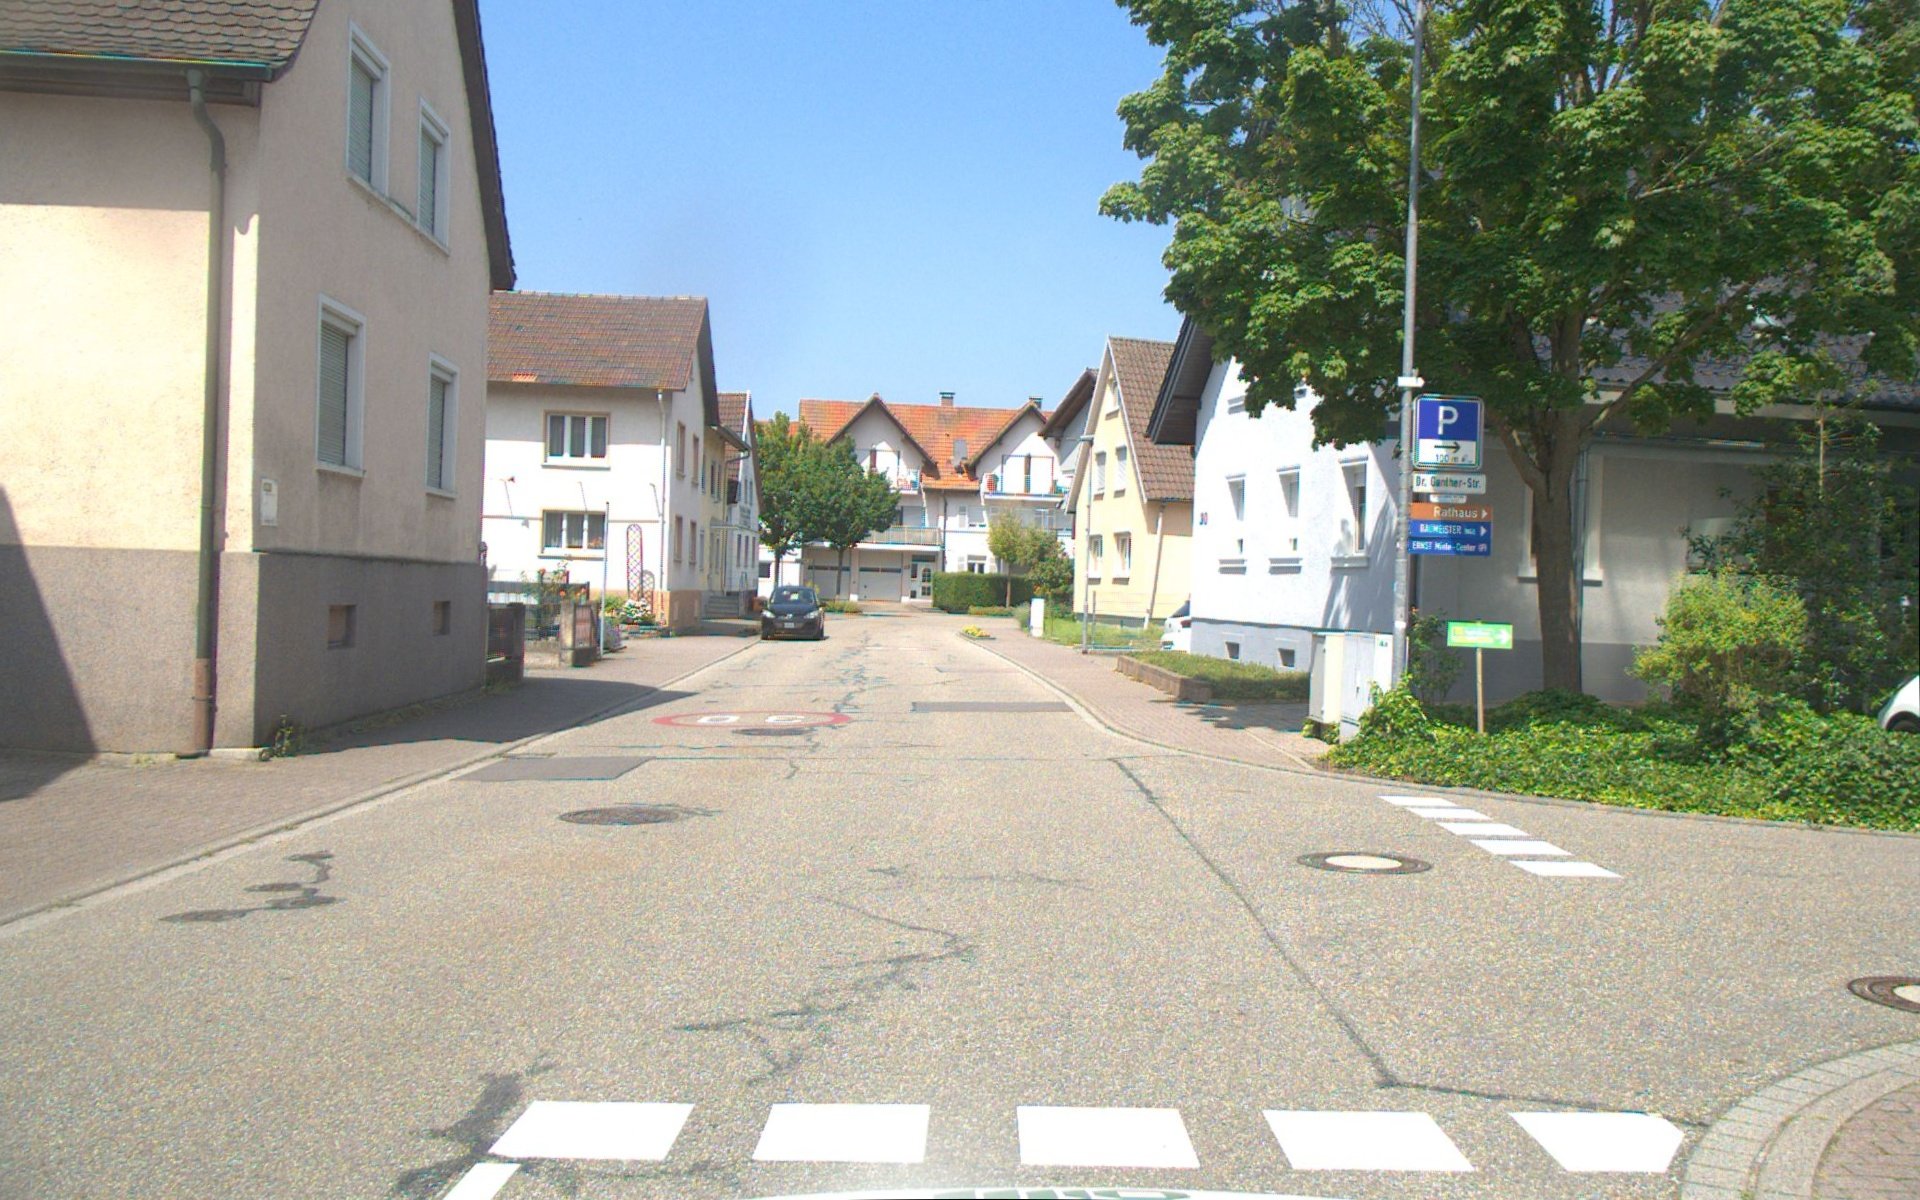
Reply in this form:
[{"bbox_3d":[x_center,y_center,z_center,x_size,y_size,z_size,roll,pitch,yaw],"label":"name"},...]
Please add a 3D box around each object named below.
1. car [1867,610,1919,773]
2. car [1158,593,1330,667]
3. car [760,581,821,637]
[{"bbox_3d":[9.728,0.904,14.147,1.562,1.470,3.560,1,2,-9],"label":"car"},{"bbox_3d":[5.481,0.581,32.013,2.987,1.369,1.419,1,-1,-10],"label":"car"},{"bbox_3d":[-4.773,0.217,46.901,1.594,1.512,3.997,1,1,-4],"label":"car"}]
